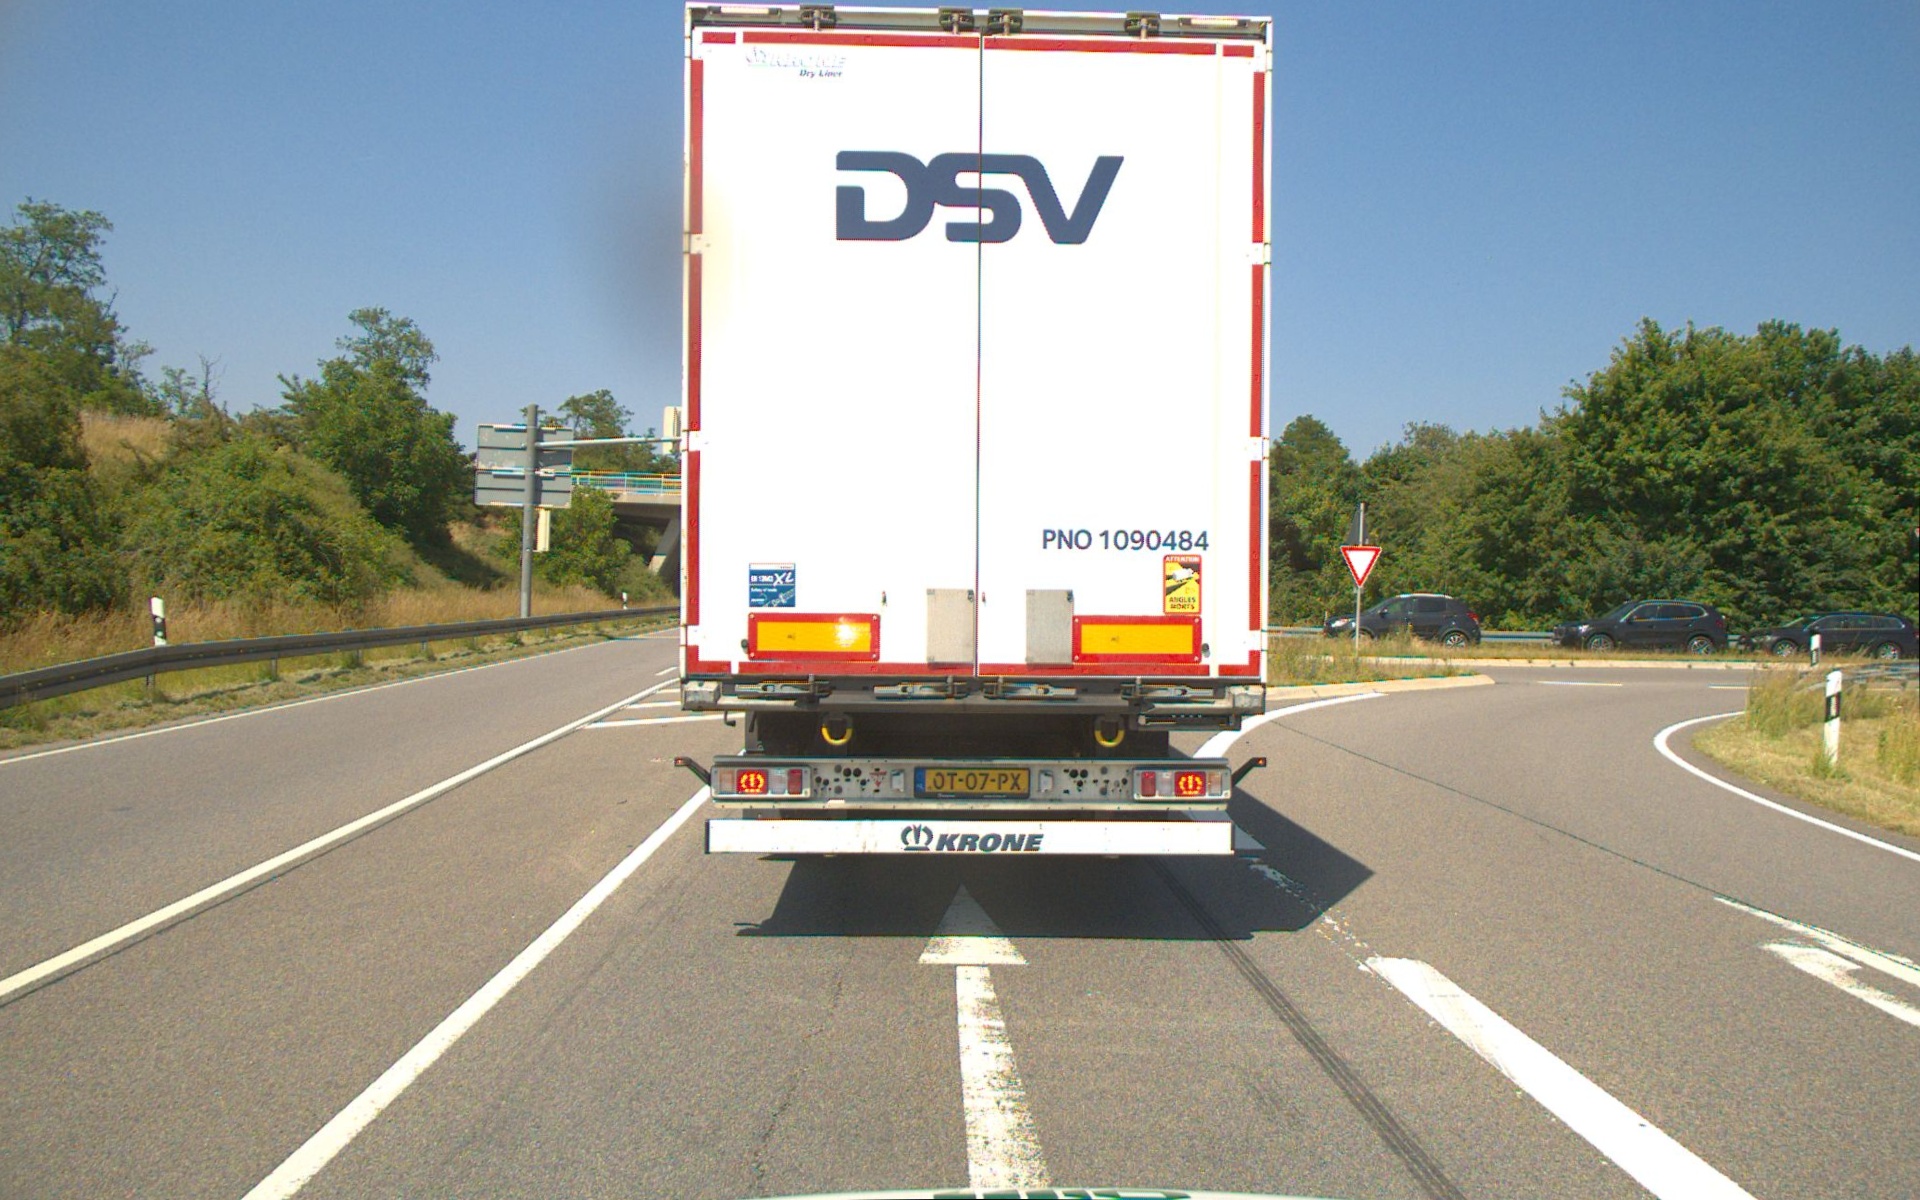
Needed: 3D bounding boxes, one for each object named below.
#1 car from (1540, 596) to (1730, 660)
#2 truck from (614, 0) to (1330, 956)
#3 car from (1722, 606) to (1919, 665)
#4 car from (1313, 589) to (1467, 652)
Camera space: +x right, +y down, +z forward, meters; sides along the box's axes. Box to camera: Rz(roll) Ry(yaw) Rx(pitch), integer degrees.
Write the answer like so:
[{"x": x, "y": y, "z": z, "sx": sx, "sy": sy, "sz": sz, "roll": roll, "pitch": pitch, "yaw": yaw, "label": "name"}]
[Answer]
[{"x": 18.031, "y": 0.752, "z": 44.323, "sx": 4.393, "sy": 1.626, "sz": 1.768, "roll": 1, "pitch": -1, "yaw": 2, "label": "car"}, {"x": -0.055, "y": -0.536, "z": 11.787, "sx": 2.927, "sy": 4.011, "sz": 9.872, "roll": 1, "pitch": 0, "yaw": -1, "label": "truck"}, {"x": 23.829, "y": 0.967, "z": 45.807, "sx": 4.583, "sy": 1.540, "sz": 1.854, "roll": 1, "pitch": -1, "yaw": 6, "label": "car"}, {"x": 11.983, "y": 0.573, "z": 46.266, "sx": 3.901, "sy": 1.669, "sz": 1.842, "roll": 1, "pitch": -1, "yaw": 5, "label": "car"}]
